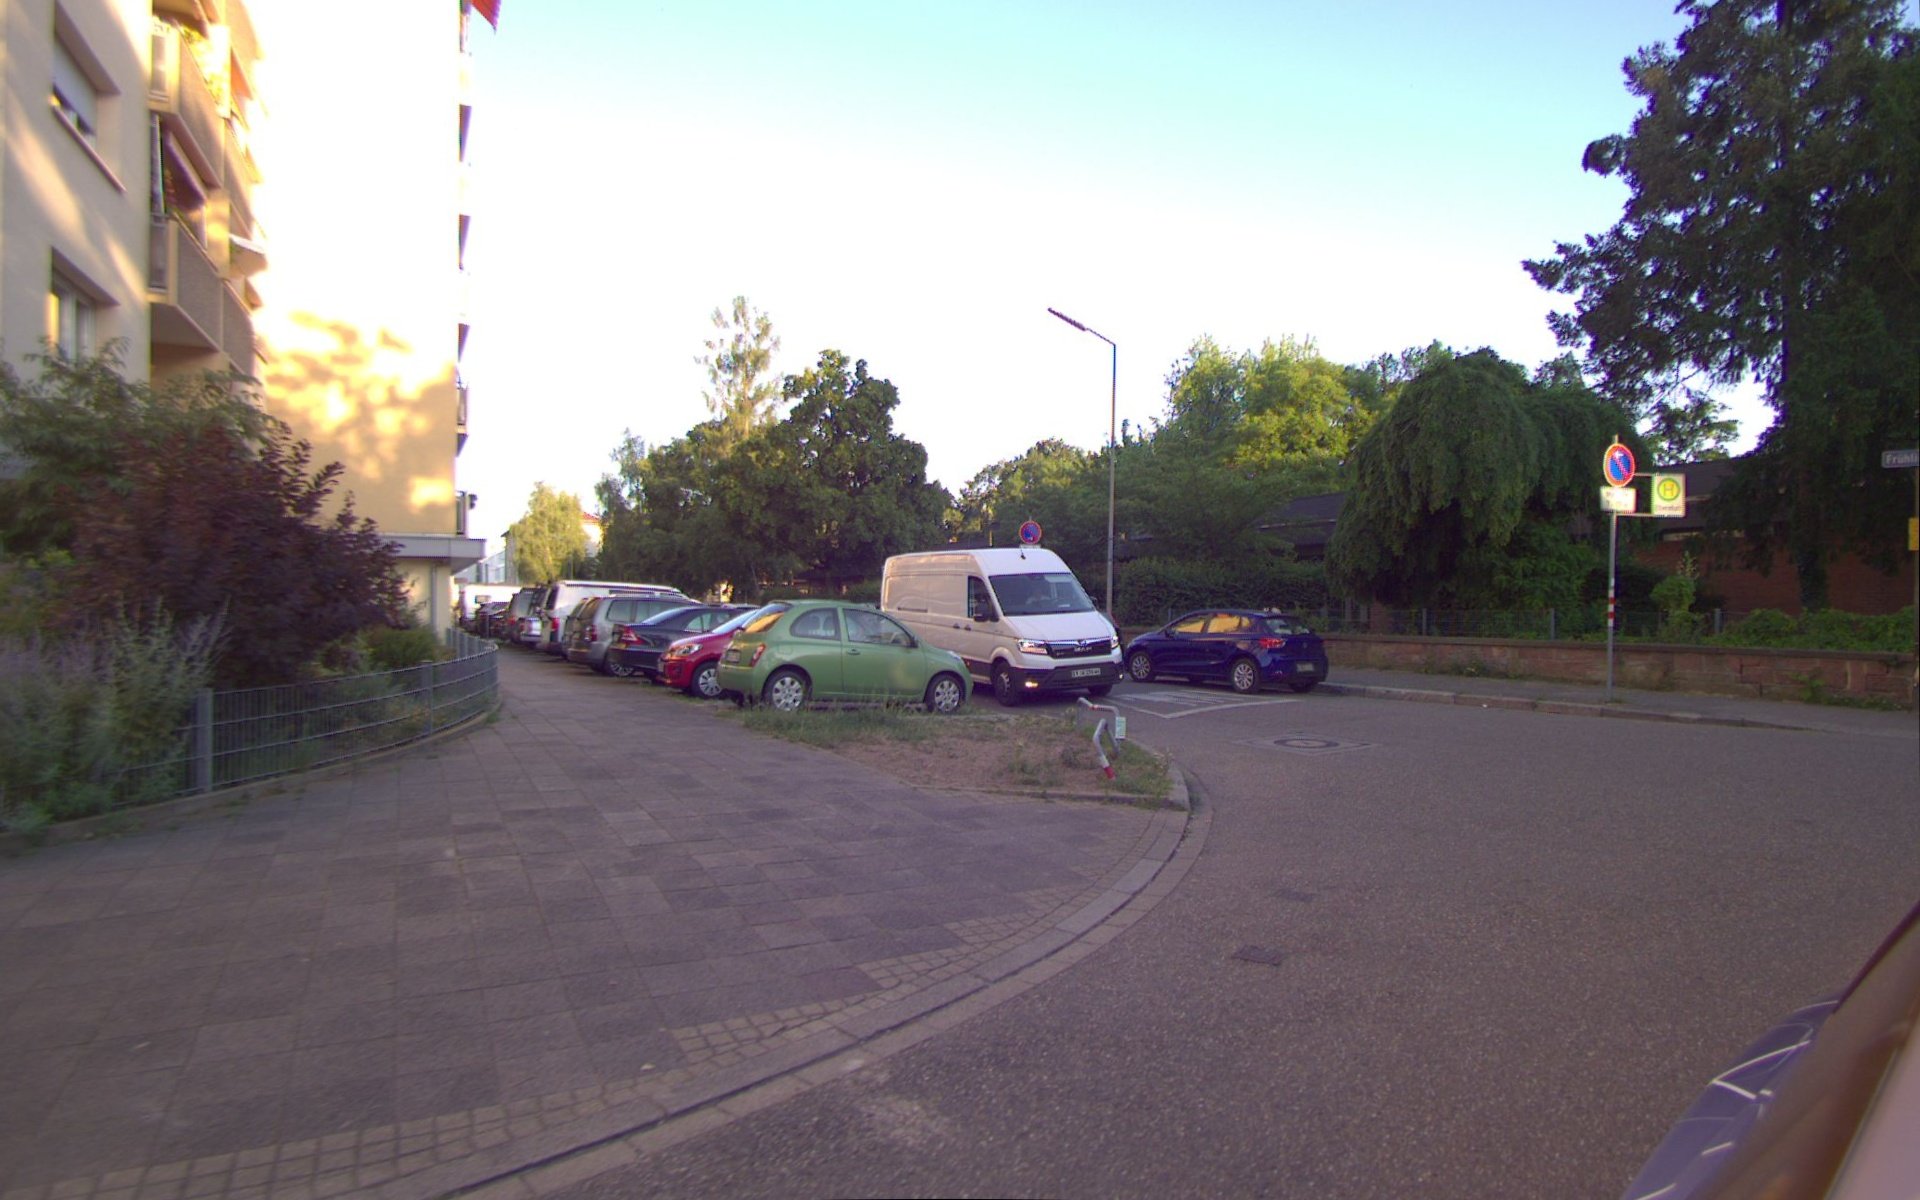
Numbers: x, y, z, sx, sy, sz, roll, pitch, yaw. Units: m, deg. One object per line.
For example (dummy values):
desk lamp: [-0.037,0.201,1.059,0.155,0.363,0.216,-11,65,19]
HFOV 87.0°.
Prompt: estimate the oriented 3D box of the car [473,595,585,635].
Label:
car: [-18.677,0.650,43.871,4.275,1.681,1.745,1,-1,-30]

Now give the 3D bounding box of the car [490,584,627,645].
car: [-14.081,0.491,35.534,4.275,2.023,1.745,1,-1,-30]

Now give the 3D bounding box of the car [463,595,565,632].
car: [-21.095,0.642,47.902,4.275,1.681,1.745,1,-1,-30]

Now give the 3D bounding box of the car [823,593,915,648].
car: [-2.877,0.613,31.502,1.504,1.606,3.405,1,0,-31]

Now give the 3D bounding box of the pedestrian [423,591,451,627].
pedestrian: [-27.667,0.470,53.509,1.144,1.798,0.872,-3,4,-36]

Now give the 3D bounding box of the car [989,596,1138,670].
car: [2.225,0.679,22.611,1.504,1.504,3.513,1,0,-31]

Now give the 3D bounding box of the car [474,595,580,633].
car: [-19.801,0.648,46.280,4.275,1.681,1.745,1,-1,-30]

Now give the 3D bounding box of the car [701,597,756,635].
car: [-10.237,0.681,44.602,1.504,1.606,2.956,1,0,-31]

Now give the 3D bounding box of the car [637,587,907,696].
car: [-3.023,0.615,16.500,3.922,1.572,1.829,1,0,-33]

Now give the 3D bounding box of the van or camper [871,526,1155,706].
van or camper: [0.606,0.203,18.536,2.053,2.622,6.882,-3,1,-25]

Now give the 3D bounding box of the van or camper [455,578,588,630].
van or camper: [-22.178,0.229,51.303,5.981,2.522,2.199,1,-1,-30]

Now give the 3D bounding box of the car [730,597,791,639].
car: [-8.016,0.687,40.548,1.504,1.606,2.956,1,0,-31]

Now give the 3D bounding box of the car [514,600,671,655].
car: [-10.681,0.772,29.480,4.060,1.479,1.745,1,0,-30]

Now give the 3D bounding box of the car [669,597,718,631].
car: [-12.956,0.673,49.149,1.504,1.606,2.956,1,0,-31]

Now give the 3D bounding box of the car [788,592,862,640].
car: [-4.750,0.541,35.304,1.504,1.606,2.956,1,0,-31]

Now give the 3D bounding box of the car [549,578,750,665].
car: [-7.071,0.468,23.140,4.032,1.836,1.829,1,-1,-33]

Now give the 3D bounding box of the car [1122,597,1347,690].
car: [4.875,0.707,18.430,1.690,1.504,3.791,1,0,-34]

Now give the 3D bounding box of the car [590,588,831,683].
car: [-4.548,0.609,18.630,3.922,1.572,1.829,1,0,-33]

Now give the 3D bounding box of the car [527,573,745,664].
car: [-8.176,0.451,25.625,4.974,2.112,2.002,1,-1,-28]

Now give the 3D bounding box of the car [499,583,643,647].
car: [-12.972,0.495,33.796,4.275,2.023,1.745,1,-1,-30]

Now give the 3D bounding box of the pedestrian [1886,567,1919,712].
pedestrian: [12.161,0.502,12.341,0.810,1.746,0.862,2,3,4]

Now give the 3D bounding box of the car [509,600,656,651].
car: [-11.763,0.770,31.599,4.060,1.479,1.745,1,0,-30]

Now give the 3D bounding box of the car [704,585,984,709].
car: [-1.595,0.671,14.165,3.499,1.532,1.628,3,-2,-31]

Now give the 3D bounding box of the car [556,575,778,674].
car: [-5.936,0.479,20.645,3.975,1.836,1.829,1,-1,-33]
